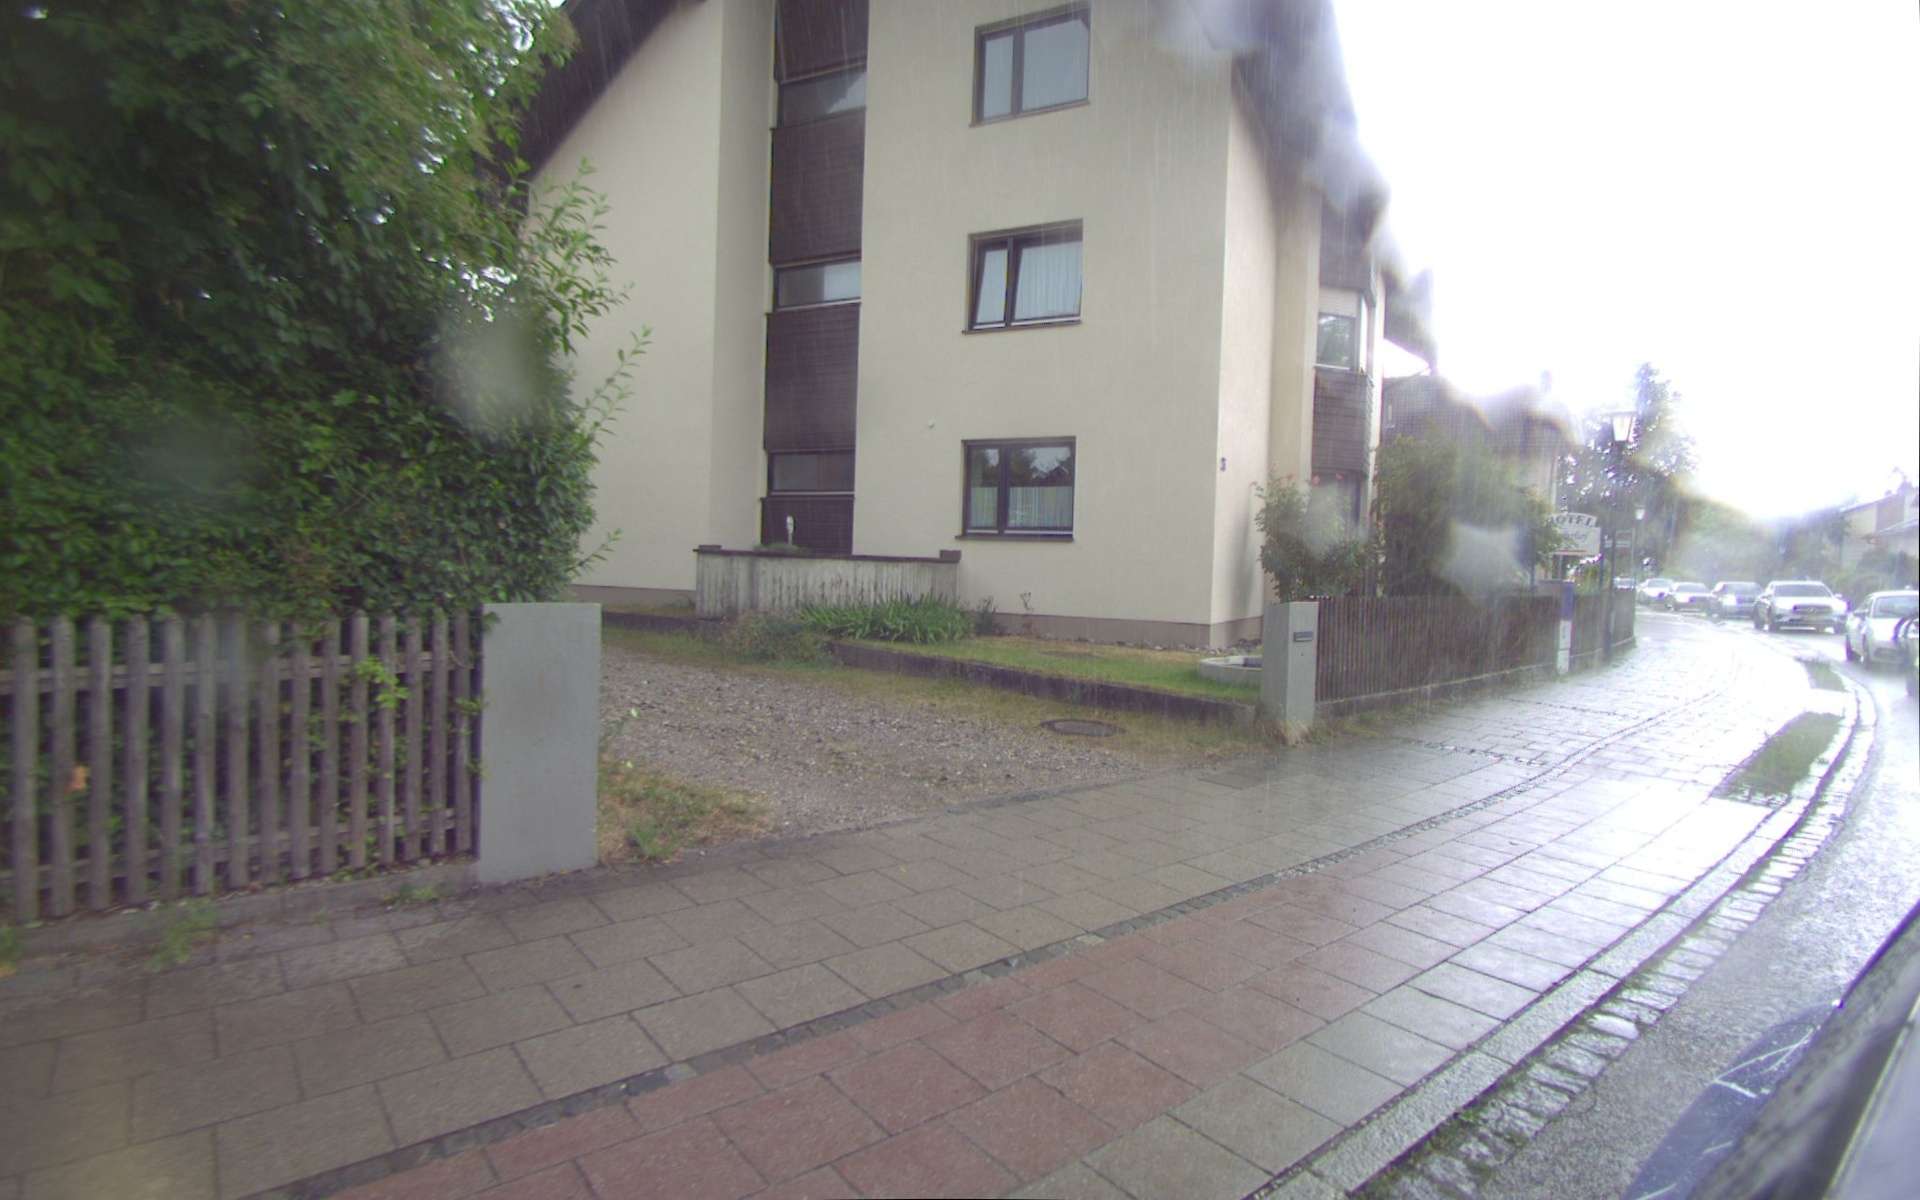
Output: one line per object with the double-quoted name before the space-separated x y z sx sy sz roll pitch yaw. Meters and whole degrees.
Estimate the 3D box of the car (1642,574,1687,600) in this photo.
"car" 44.282 -0.798 63.687 1.778 1.568 4.239 0 0 28

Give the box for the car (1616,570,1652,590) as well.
"car" 53.689 -1.560 80.693 1.776 1.568 4.244 0 0 25

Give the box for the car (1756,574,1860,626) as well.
"car" 27.390 -0.024 32.826 1.779 1.568 4.238 0 0 29

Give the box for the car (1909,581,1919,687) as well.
"car" 13.702 0.489 13.088 1.787 1.498 5.307 0 1 40

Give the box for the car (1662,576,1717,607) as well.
"car" 38.370 -0.468 53.297 1.778 1.568 4.239 0 0 28

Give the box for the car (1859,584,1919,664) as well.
"car" 18.305 0.398 19.166 1.787 1.412 4.219 0 1 40

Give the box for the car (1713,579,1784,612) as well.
"car" 34.323 -0.211 44.177 1.779 1.391 4.238 0 0 29

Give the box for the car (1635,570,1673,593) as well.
"car" 49.293 -1.303 71.930 1.779 1.568 4.238 0 0 29
